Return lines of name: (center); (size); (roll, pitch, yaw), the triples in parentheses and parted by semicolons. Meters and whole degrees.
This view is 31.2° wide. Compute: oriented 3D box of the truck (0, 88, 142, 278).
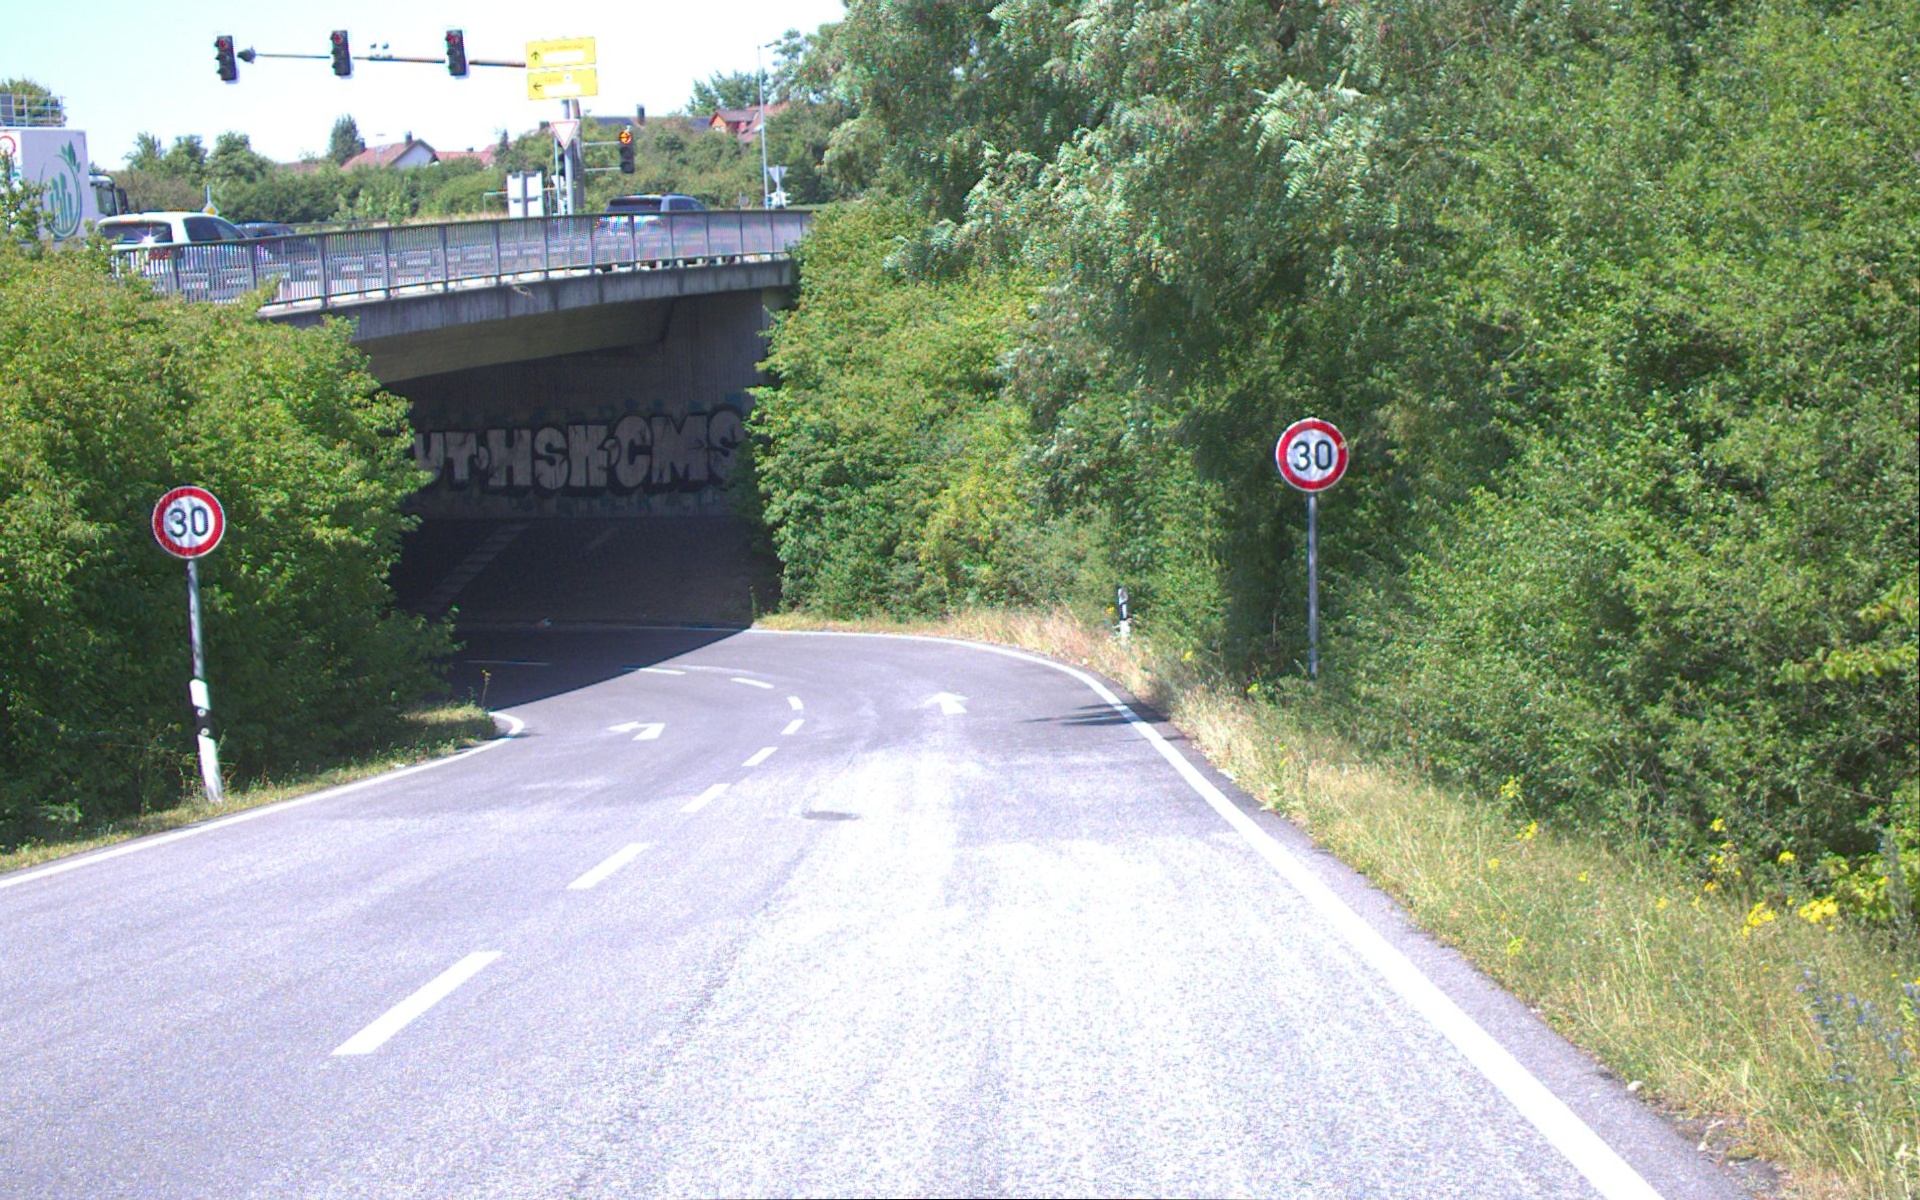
truck: (-20.489, -8.651, 71.600); (3.028, 3.576, 8.901); (-3, 4, 12)

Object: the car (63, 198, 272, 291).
car: (-11.690, -5.238, 50.909); (1.612, 1.185, 3.478); (-3, 4, 12)

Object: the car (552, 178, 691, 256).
car: (-7.251, -8.224, 74.025); (1.994, 1.415, 4.000); (-3, 4, 8)
